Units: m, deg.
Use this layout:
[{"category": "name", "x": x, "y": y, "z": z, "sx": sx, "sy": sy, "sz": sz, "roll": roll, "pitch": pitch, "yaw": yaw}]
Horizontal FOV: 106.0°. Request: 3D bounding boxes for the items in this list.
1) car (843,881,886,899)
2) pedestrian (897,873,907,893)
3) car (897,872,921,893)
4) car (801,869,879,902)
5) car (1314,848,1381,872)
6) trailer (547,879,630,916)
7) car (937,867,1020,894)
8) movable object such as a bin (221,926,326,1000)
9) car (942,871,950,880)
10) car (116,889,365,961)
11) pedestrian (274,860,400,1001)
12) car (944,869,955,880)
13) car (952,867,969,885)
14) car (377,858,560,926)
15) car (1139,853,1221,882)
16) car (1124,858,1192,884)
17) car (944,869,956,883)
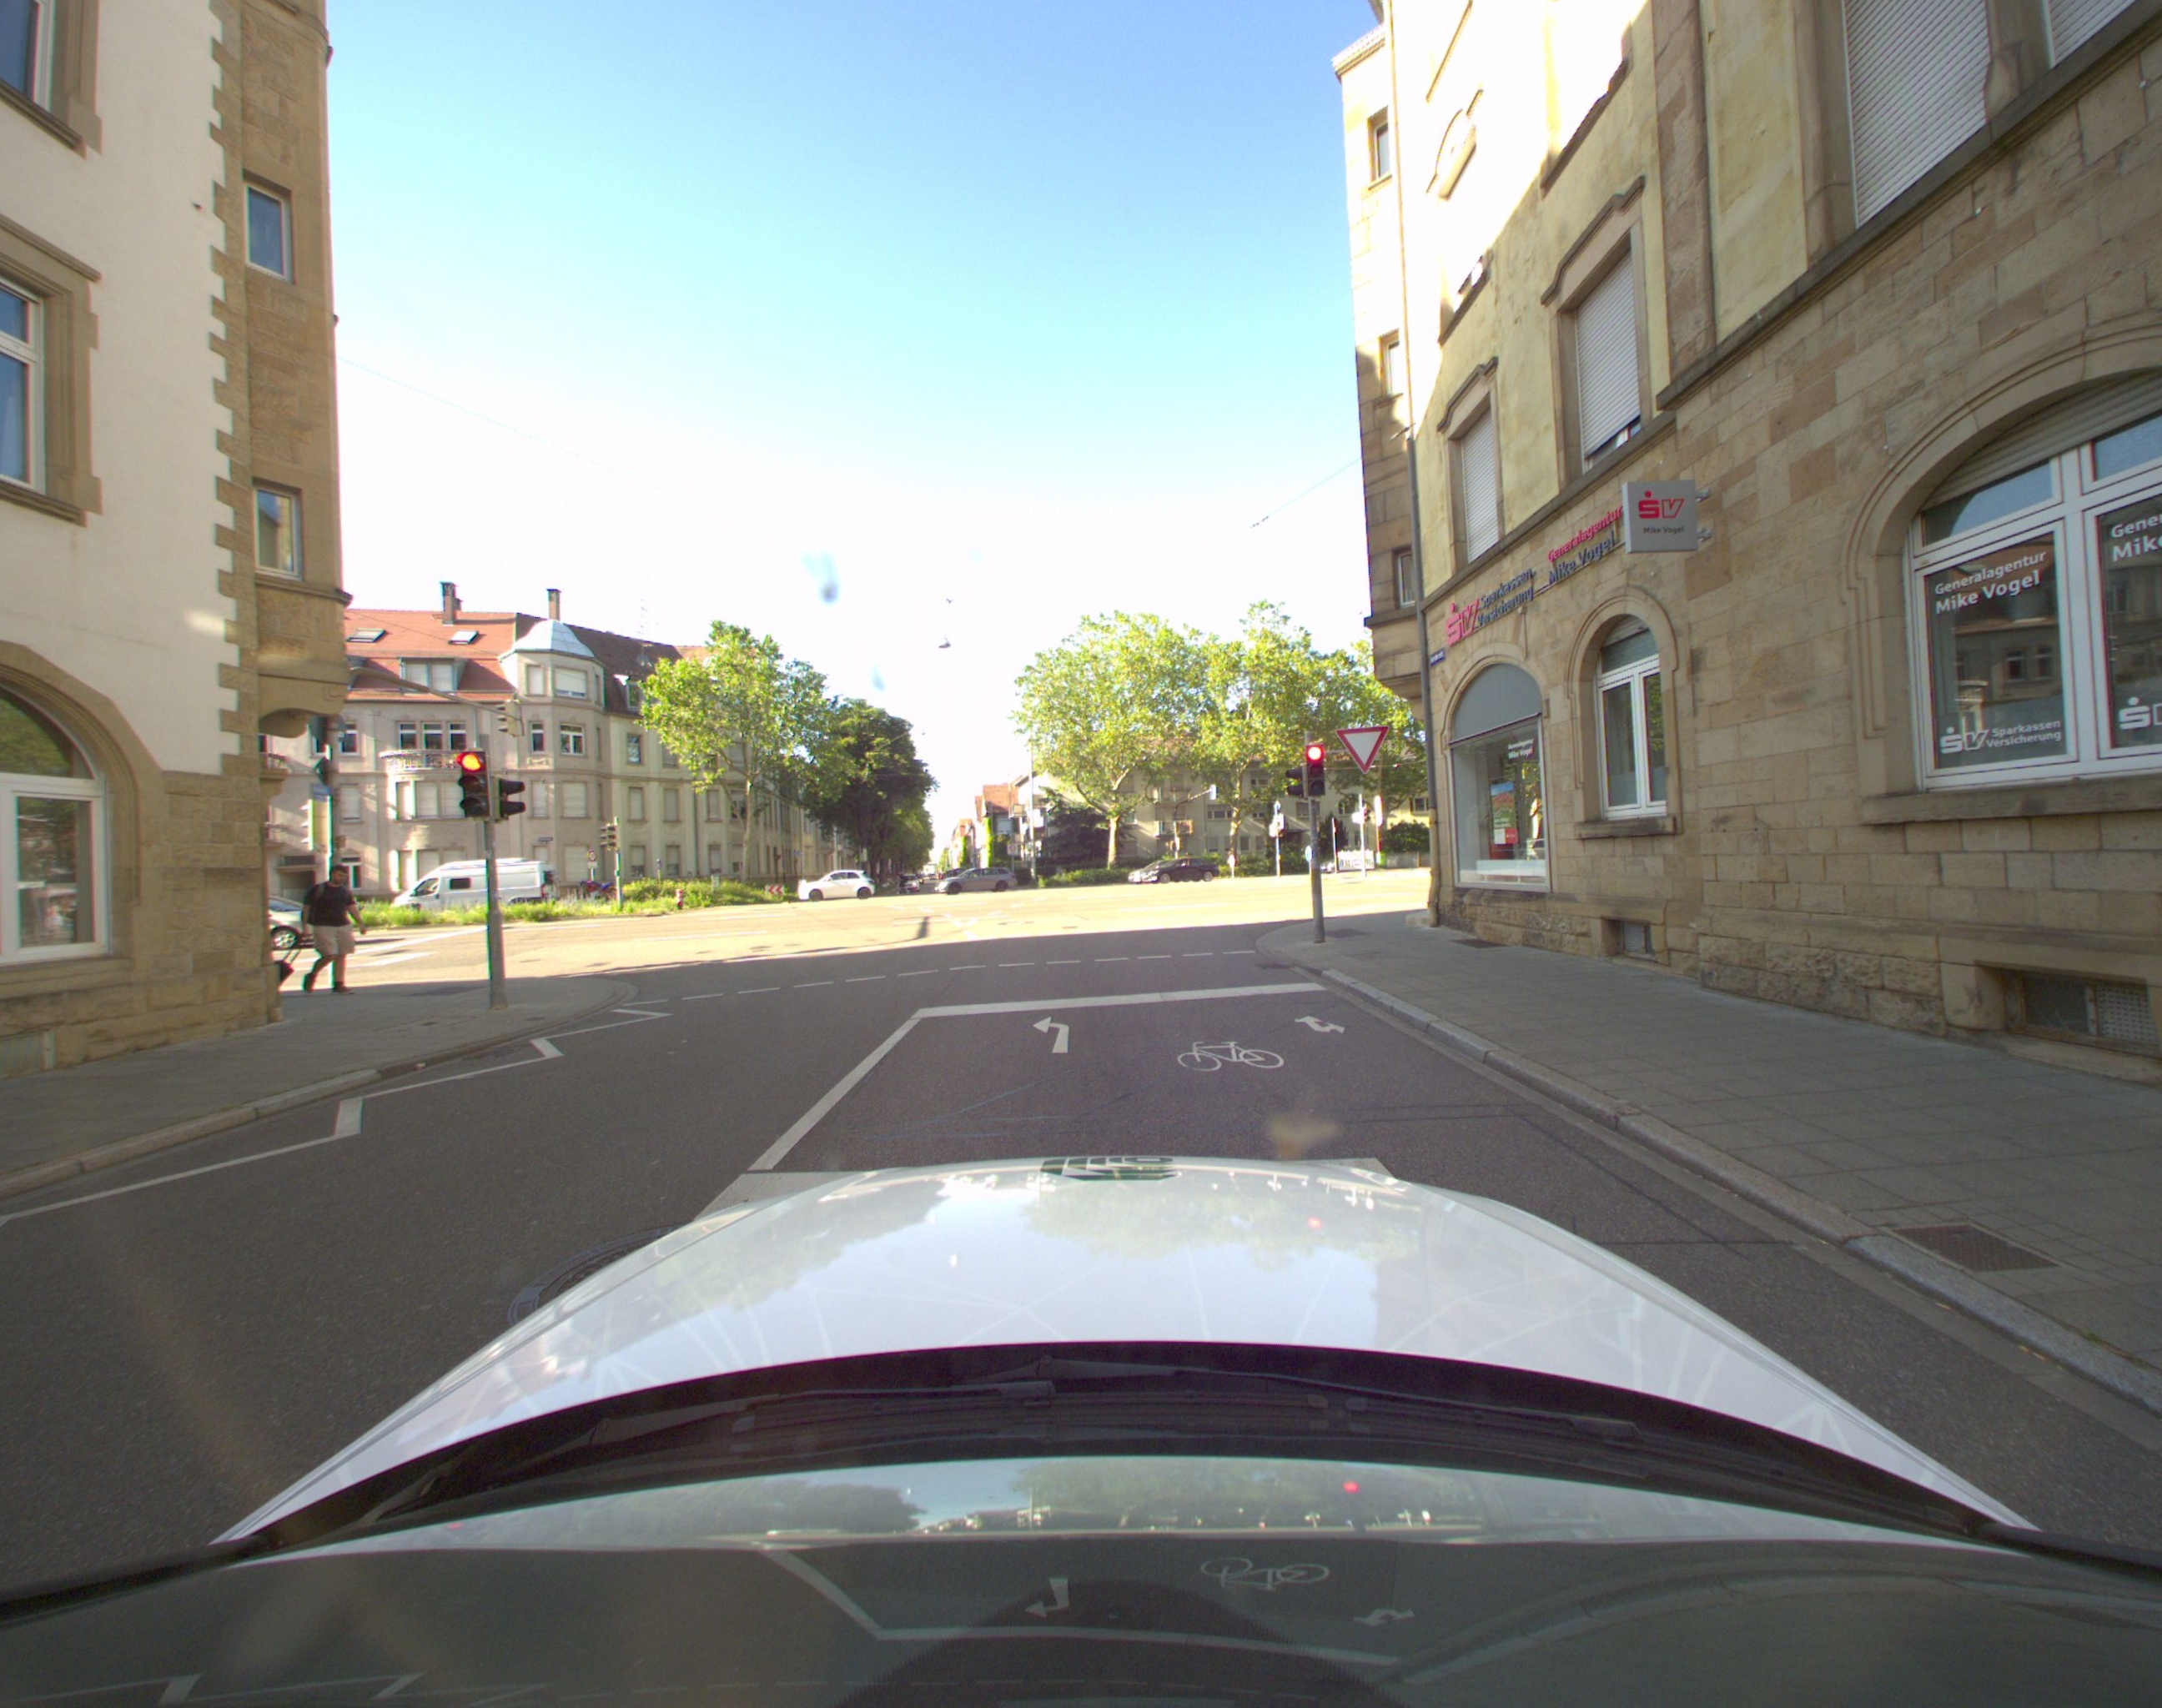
[{"category": "car", "x": -19.846, "y": 3.316, "z": 74.790, "sx": 3.636, "sy": 1.457, "sz": 1.650, "roll": -2, "pitch": 0, "yaw": -14}, {"category": "pedestrian", "x": -12.879, "y": 2.071, "z": 58.684, "sx": 0.704, "sy": 1.442, "sz": 0.487, "roll": 0, "pitch": -1, "yaw": -15}, {"category": "car", "x": -14.092, "y": 2.288, "z": 66.846, "sx": 1.698, "sy": 1.483, "sz": 3.522, "roll": -4, "pitch": 0, "yaw": -10}, {"category": "car", "x": -12.096, "y": 1.550, "z": 40.942, "sx": 3.641, "sy": 1.457, "sz": 1.494, "roll": -2, "pitch": 0, "yaw": -18}, {"category": "car", "x": 17.482, "y": 0.414, "z": 53.403, "sx": 3.948, "sy": 1.400, "sz": 1.637, "roll": -2, "pitch": 0, "yaw": -17}, {"category": "trailer", "x": -22.644, "y": 1.981, "z": 37.544, "sx": 2.955, "sy": 1.457, "sz": 1.505, "roll": -2, "pitch": 0, "yaw": -18}, {"category": "car", "x": -5.840, "y": 1.465, "z": 46.406, "sx": 4.399, "sy": 1.316, "sz": 1.636, "roll": -2, "pitch": 0, "yaw": -18}, {"category": "movable object such as a bin", "x": -11.105, "y": 1.489, "z": 11.221, "sx": 0.862, "sy": 0.892, "sz": 0.507, "roll": -3, "pitch": 0, "yaw": -11}, {"category": "car", "x": -30.126, "y": 4.800, "z": 181.737, "sx": 1.773, "sy": 1.918, "sz": 3.522, "roll": -4, "pitch": 0, "yaw": -10}, {"category": "car", "x": -21.896, "y": 1.805, "z": 21.429, "sx": 4.212, "sy": 1.456, "sz": 1.669, "roll": -3, "pitch": 0, "yaw": -17}, {"category": "pedestrian", "x": -10.523, "y": 1.061, "z": 11.552, "sx": 1.066, "sy": 1.849, "sz": 0.746, "roll": -3, "pitch": -4, "yaw": -11}, {"category": "car", "x": -23.751, "y": 3.694, "z": 147.194, "sx": 1.773, "sy": 1.918, "sz": 3.522, "roll": -4, "pitch": 0, "yaw": -10}, {"category": "car", "x": -14.115, "y": 2.503, "z": 95.144, "sx": 1.773, "sy": 1.918, "sz": 3.522, "roll": -4, "pitch": 0, "yaw": -10}, {"category": "car", "x": -27.040, "y": 1.621, "z": 36.196, "sx": 6.123, "sy": 2.637, "sz": 1.884, "roll": -2, "pitch": -1, "yaw": -17}, {"category": "car", "x": 5.636, "y": 0.757, "z": 46.386, "sx": 4.281, "sy": 1.400, "sz": 1.635, "roll": -2, "pitch": 0, "yaw": -20}, {"category": "car", "x": 4.707, "y": 1.014, "z": 49.820, "sx": 3.793, "sy": 1.400, "sz": 1.635, "roll": -2, "pitch": 0, "yaw": -20}, {"category": "car", "x": -20.742, "y": 3.470, "z": 128.825, "sx": 1.773, "sy": 1.918, "sz": 3.522, "roll": -4, "pitch": 0, "yaw": -10}]
